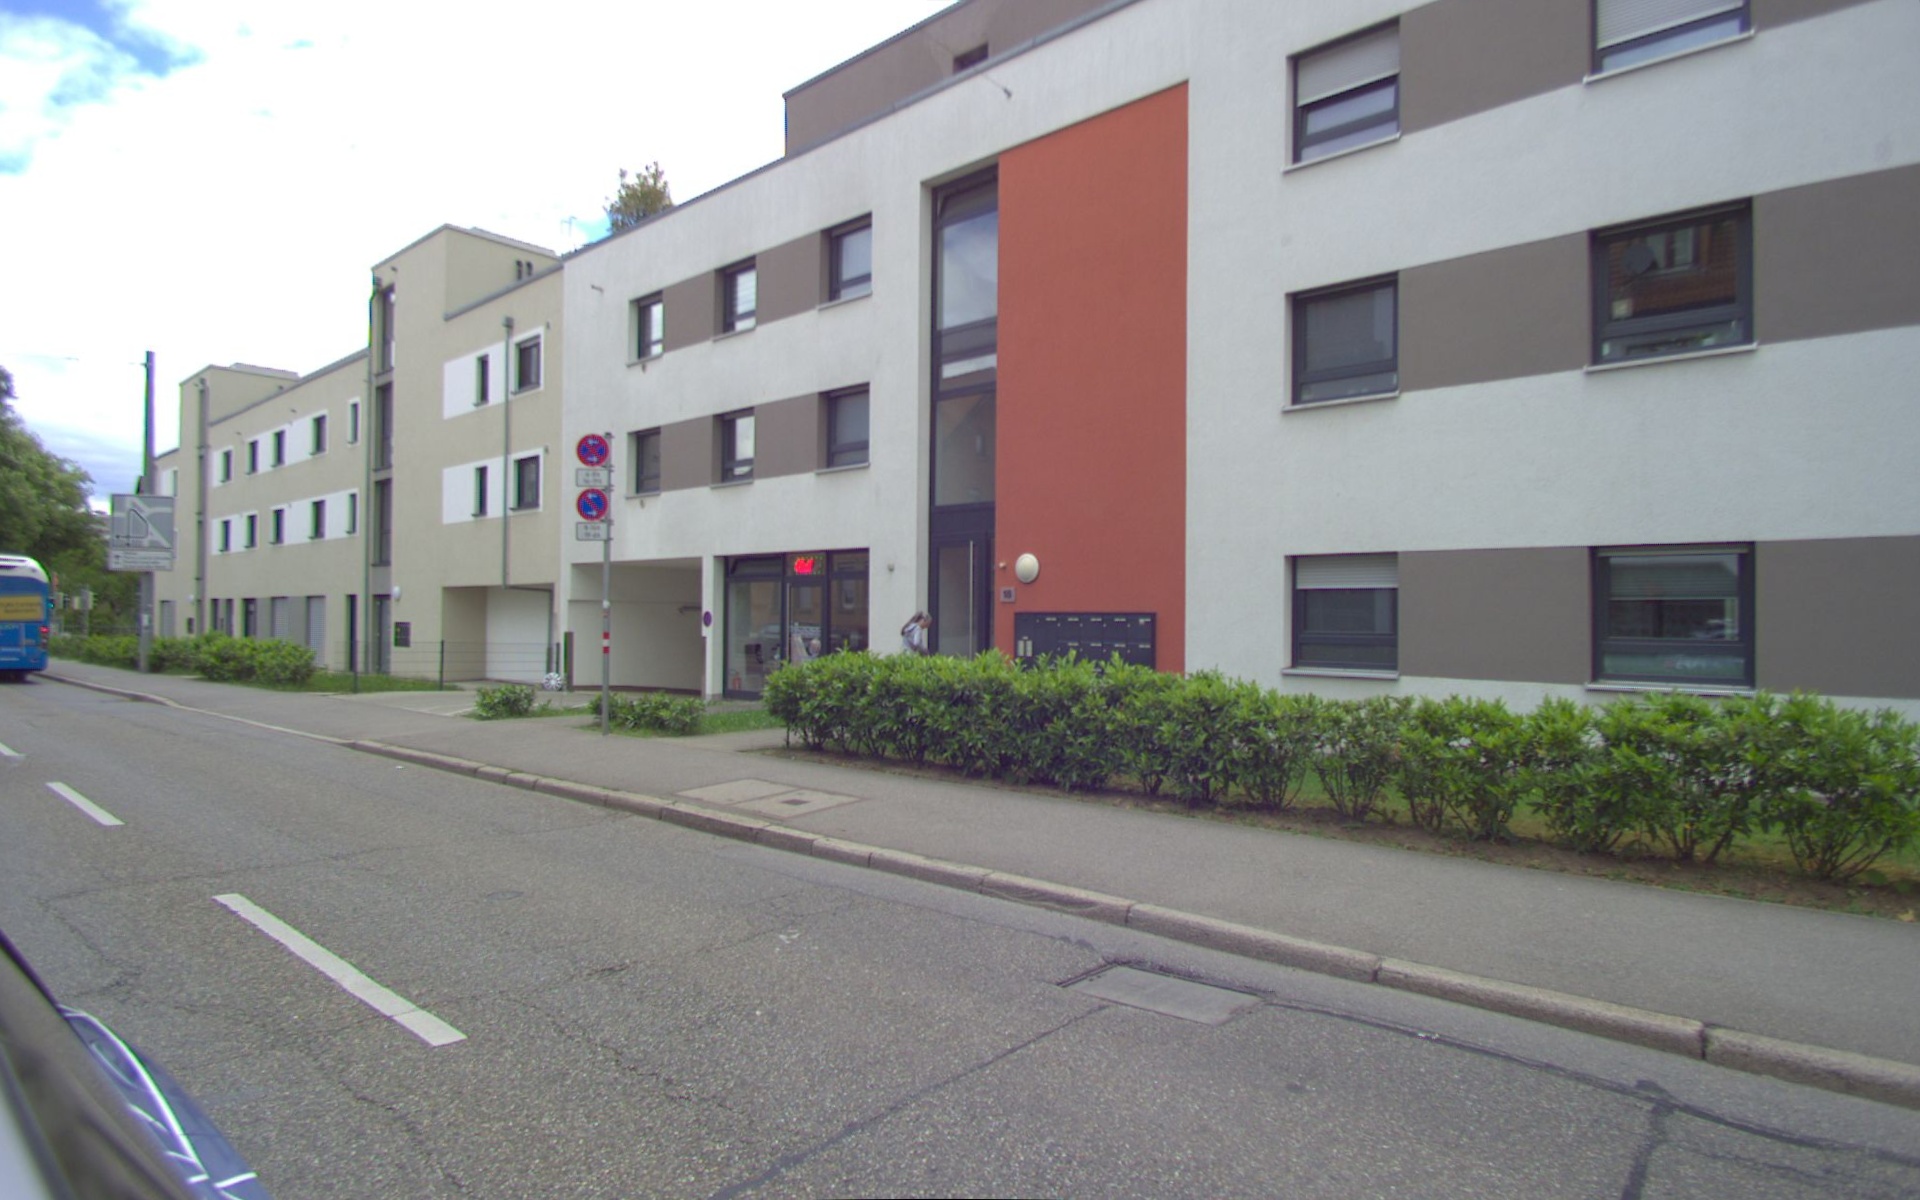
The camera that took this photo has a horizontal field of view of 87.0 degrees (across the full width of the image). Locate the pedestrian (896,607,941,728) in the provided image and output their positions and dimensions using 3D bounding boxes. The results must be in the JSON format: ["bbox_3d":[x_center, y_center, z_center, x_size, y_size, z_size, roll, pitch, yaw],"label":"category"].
[{"bbox_3d":[-0.589,0.929,14.179,0.511,1.655,0.642,0,-1,-14],"label":"pedestrian"}]

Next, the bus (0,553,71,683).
[{"bbox_3d":[-28.835,0.555,29.371,12.001,3.299,2.912,-1,-3,41],"label":"bus"}]
